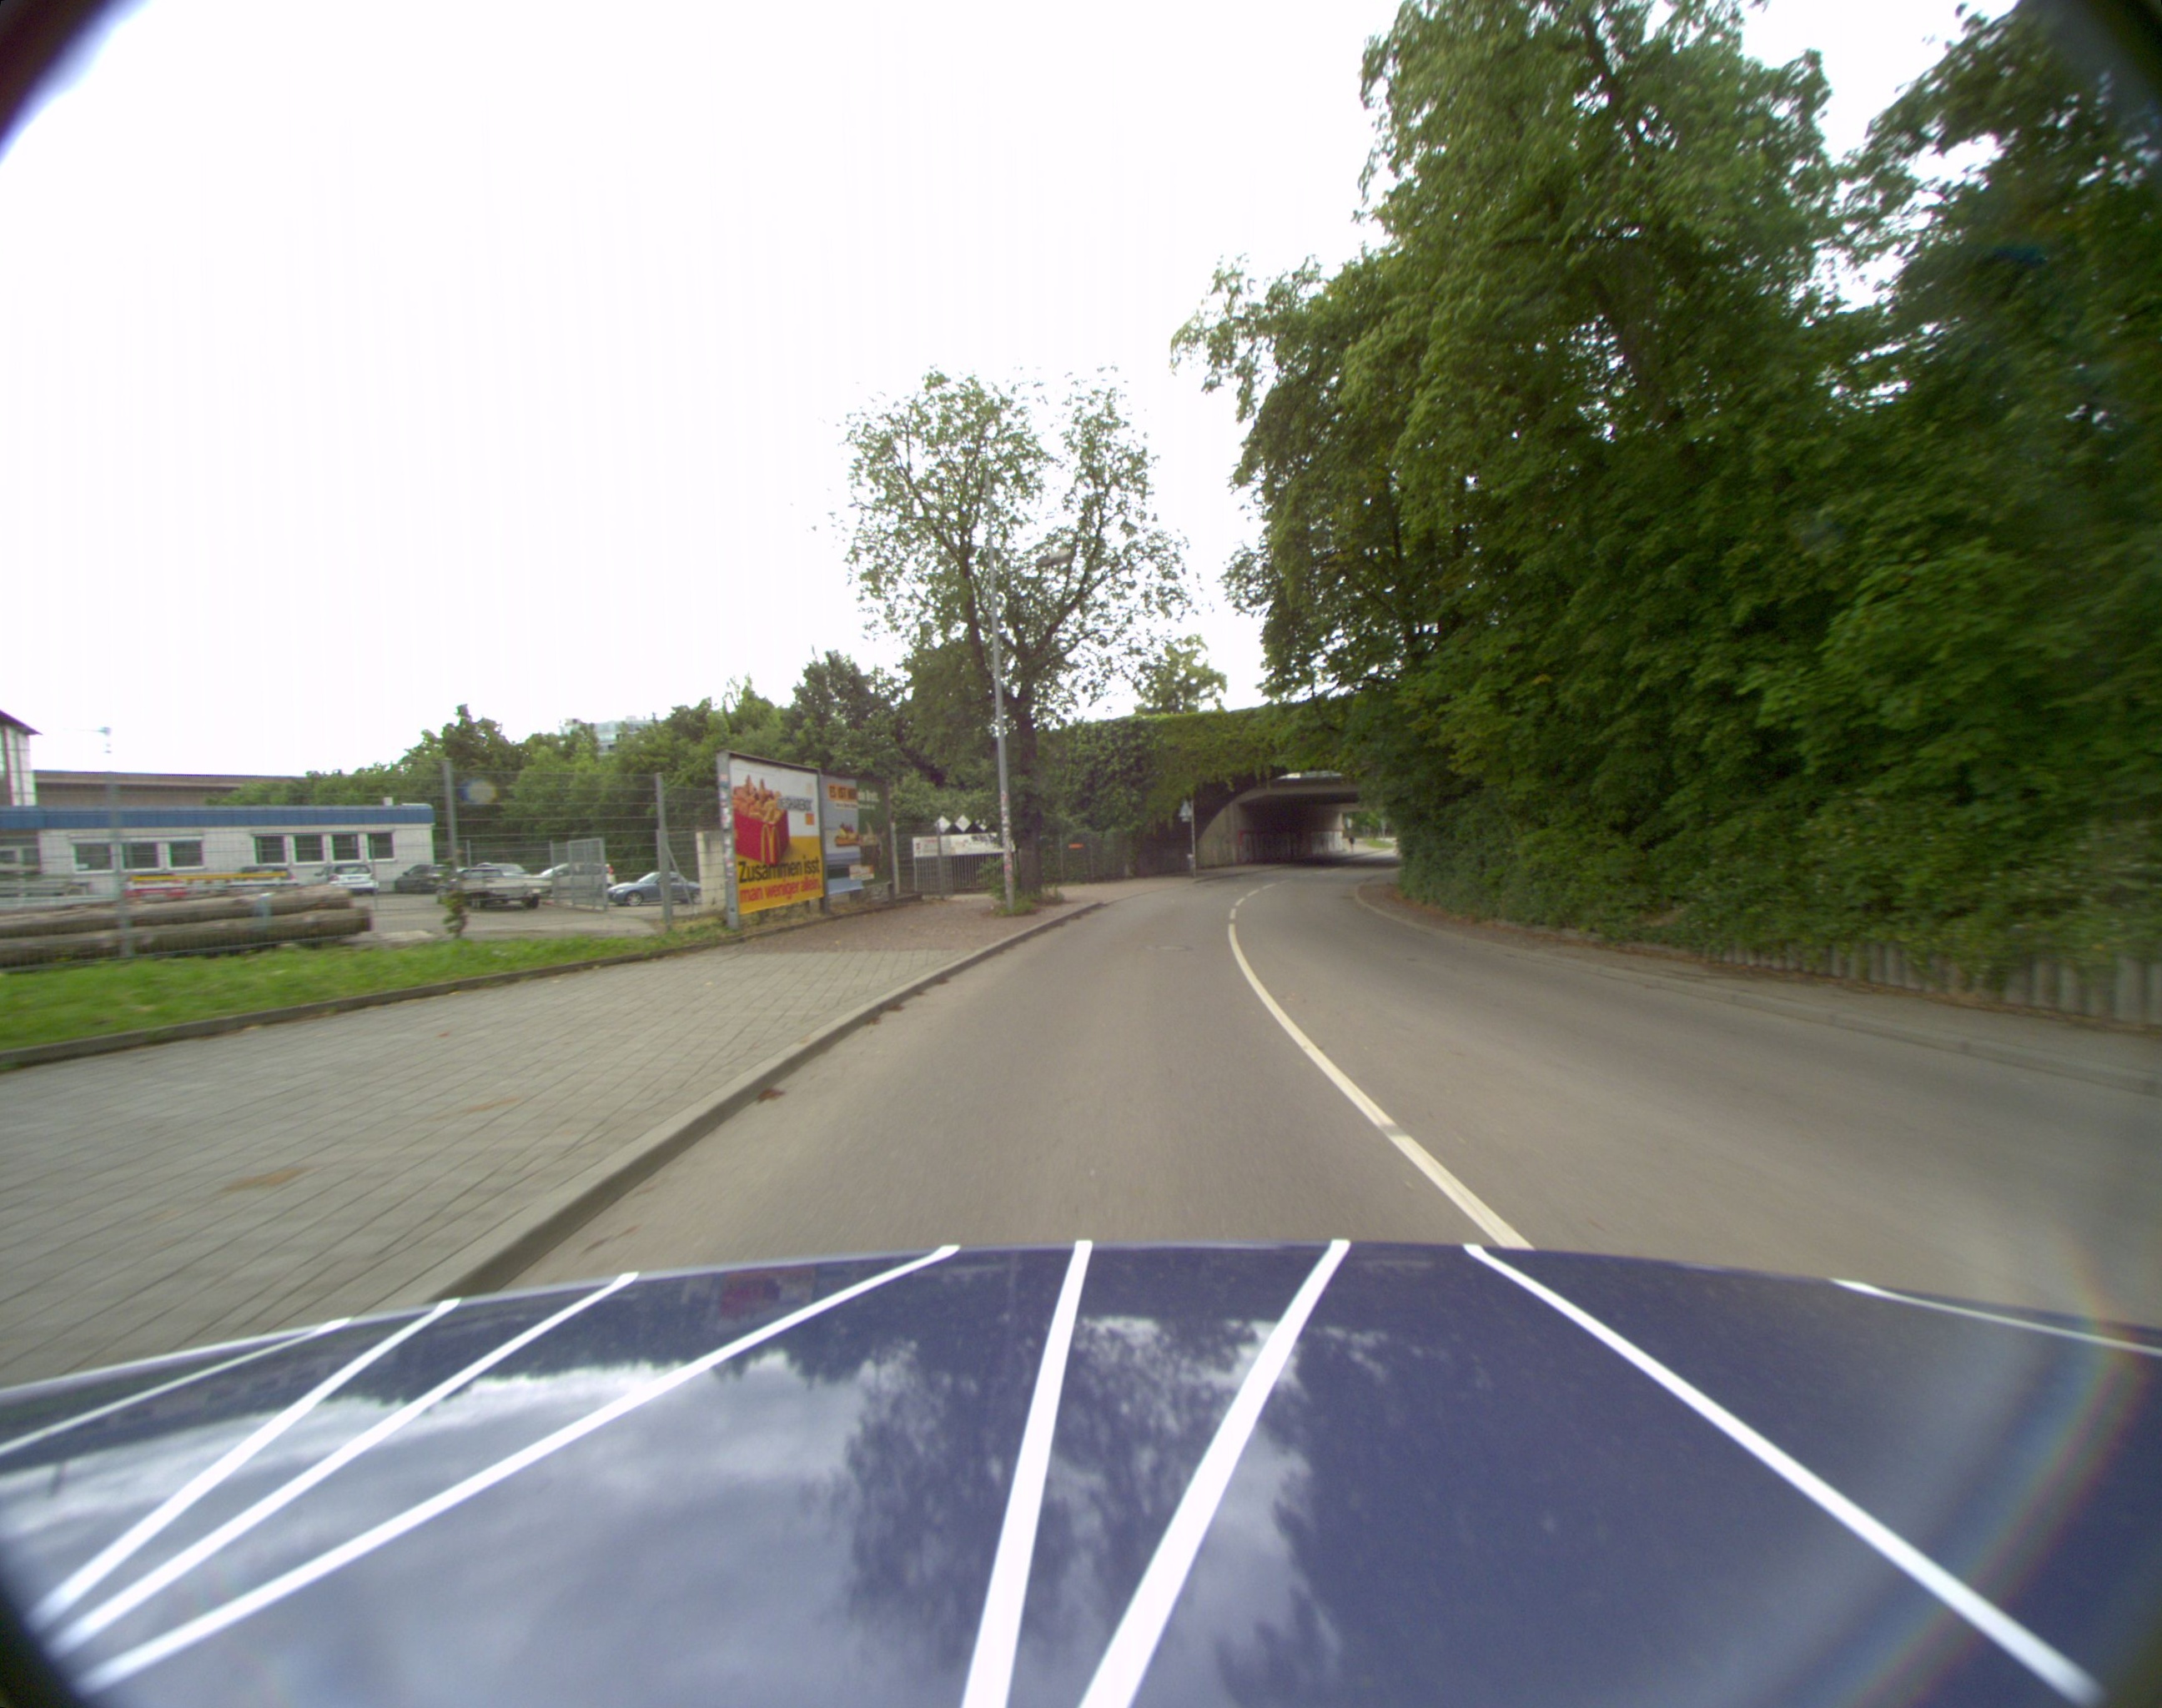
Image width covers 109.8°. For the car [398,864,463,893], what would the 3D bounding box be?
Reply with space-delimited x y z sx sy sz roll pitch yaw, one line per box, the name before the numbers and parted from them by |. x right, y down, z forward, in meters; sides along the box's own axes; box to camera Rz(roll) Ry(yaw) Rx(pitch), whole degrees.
car | -31.622 1.174 36.920 3.673 1.324 1.533 -1 0 35

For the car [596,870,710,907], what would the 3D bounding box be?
car | -15.831 1.242 28.185 1.467 1.245 3.378 0 0 40

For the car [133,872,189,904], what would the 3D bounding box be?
car | -37.401 1.348 30.869 3.302 1.201 1.340 -1 0 38

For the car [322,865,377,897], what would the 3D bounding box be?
car | -33.341 1.206 34.608 3.302 1.324 1.340 -1 0 38

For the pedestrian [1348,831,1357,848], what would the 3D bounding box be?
pedestrian | 29.681 -1.569 83.125 0.820 1.870 1.182 2 4 23

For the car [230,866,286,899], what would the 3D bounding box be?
car | -35.538 1.217 32.801 3.302 1.324 1.340 -1 0 38

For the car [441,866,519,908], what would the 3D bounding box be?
car | -22.723 1.192 28.678 3.787 1.369 1.810 -1 2 45

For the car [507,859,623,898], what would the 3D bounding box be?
car | -21.995 0.998 32.517 1.560 1.523 3.819 1 1 40

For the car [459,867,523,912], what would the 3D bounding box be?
car | -20.466 1.183 26.319 2.846 1.431 1.374 -1 0 45

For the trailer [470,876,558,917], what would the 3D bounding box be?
trailer | -18.372 1.347 24.604 2.632 1.131 1.853 -1 1 44
